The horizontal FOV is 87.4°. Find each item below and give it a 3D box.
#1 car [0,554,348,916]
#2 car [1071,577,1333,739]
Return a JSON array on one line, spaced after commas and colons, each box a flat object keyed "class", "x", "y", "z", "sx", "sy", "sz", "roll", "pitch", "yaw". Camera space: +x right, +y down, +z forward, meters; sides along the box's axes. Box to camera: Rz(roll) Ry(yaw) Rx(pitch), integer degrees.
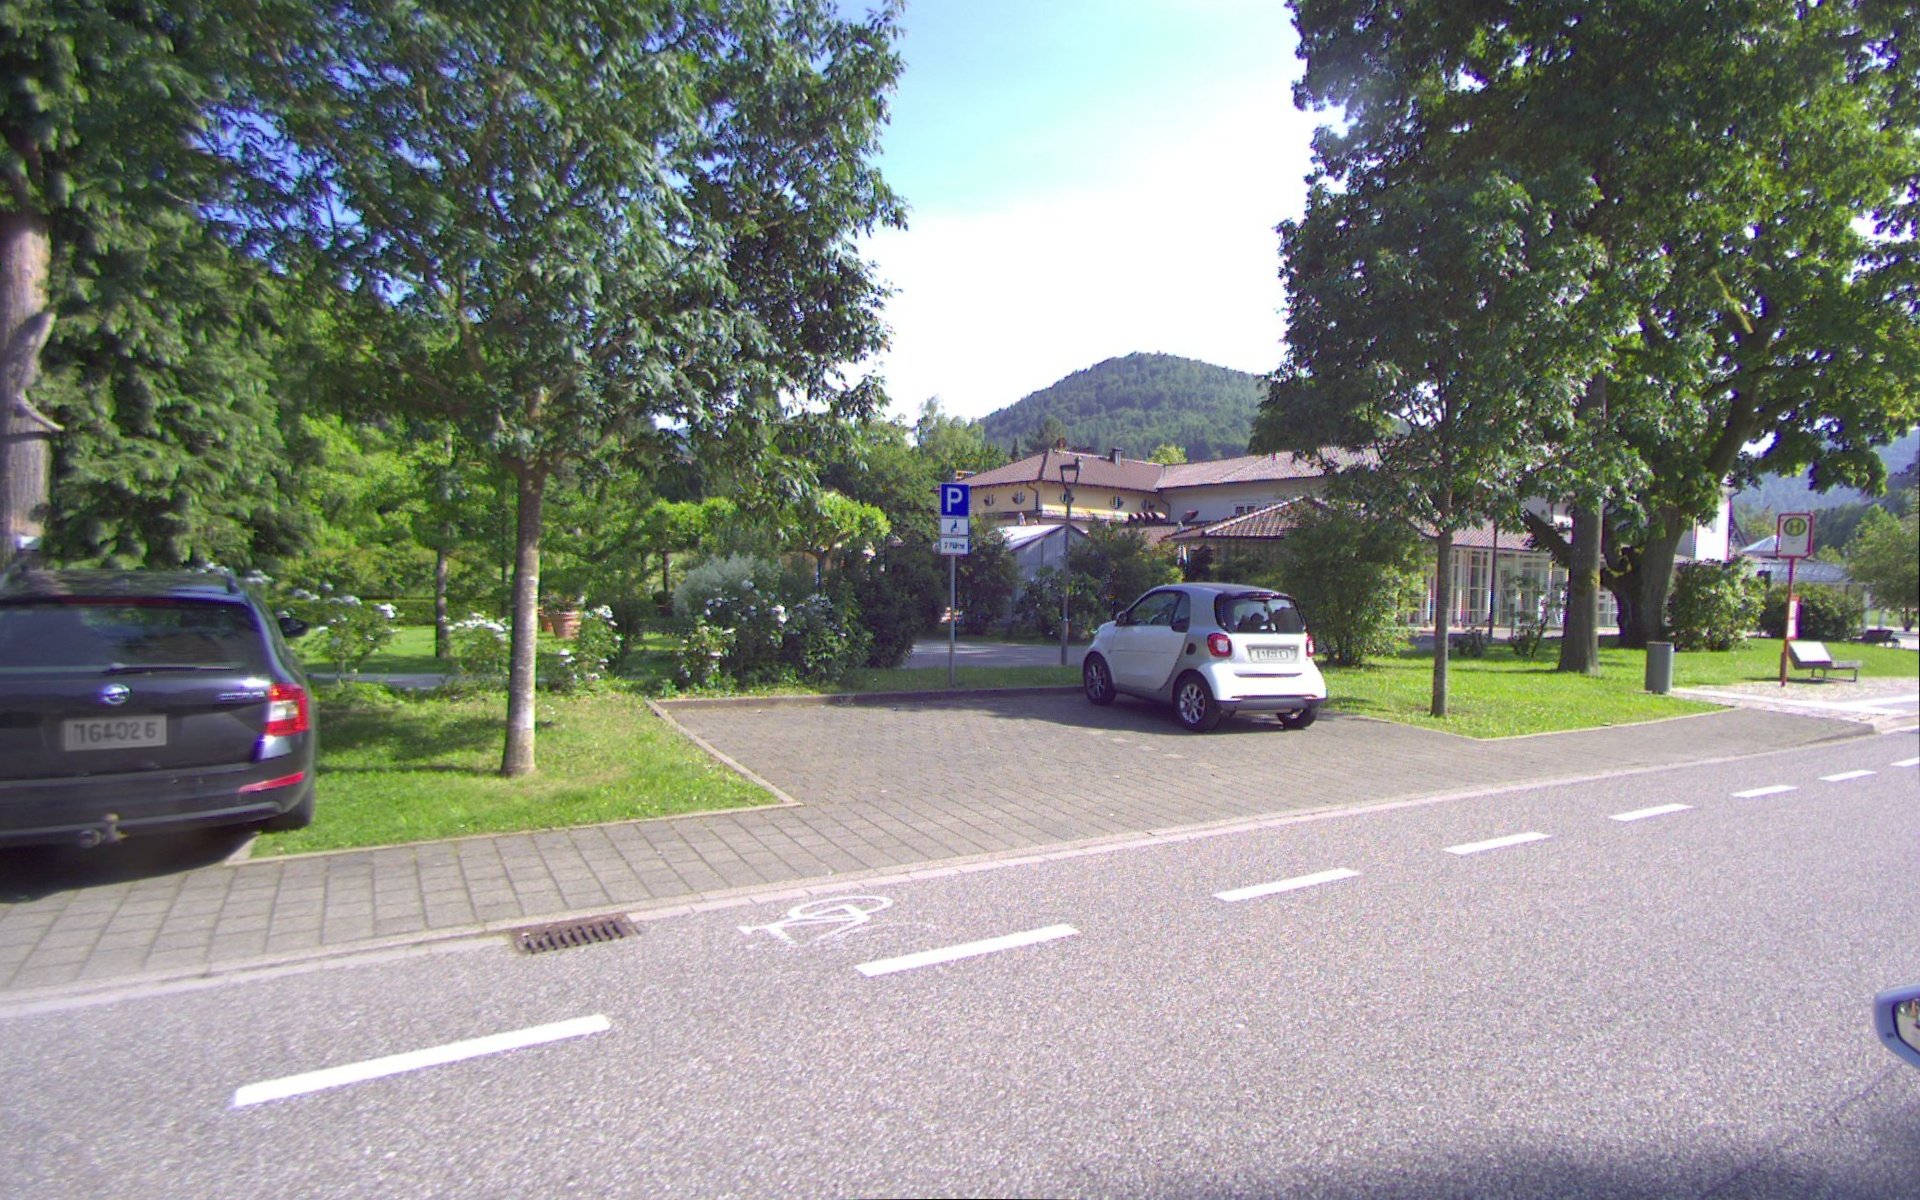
[{"class": "car", "x": -5.050, "y": 0.520, "z": 6.289, "sx": 1.697, "sy": 1.451, "sz": 4.244, "roll": 1, "pitch": 3, "yaw": -37}, {"class": "car", "x": 2.744, "y": 0.589, "z": 11.847, "sx": 1.660, "sy": 1.567, "sz": 2.642, "roll": 1, "pitch": 3, "yaw": -25}]
